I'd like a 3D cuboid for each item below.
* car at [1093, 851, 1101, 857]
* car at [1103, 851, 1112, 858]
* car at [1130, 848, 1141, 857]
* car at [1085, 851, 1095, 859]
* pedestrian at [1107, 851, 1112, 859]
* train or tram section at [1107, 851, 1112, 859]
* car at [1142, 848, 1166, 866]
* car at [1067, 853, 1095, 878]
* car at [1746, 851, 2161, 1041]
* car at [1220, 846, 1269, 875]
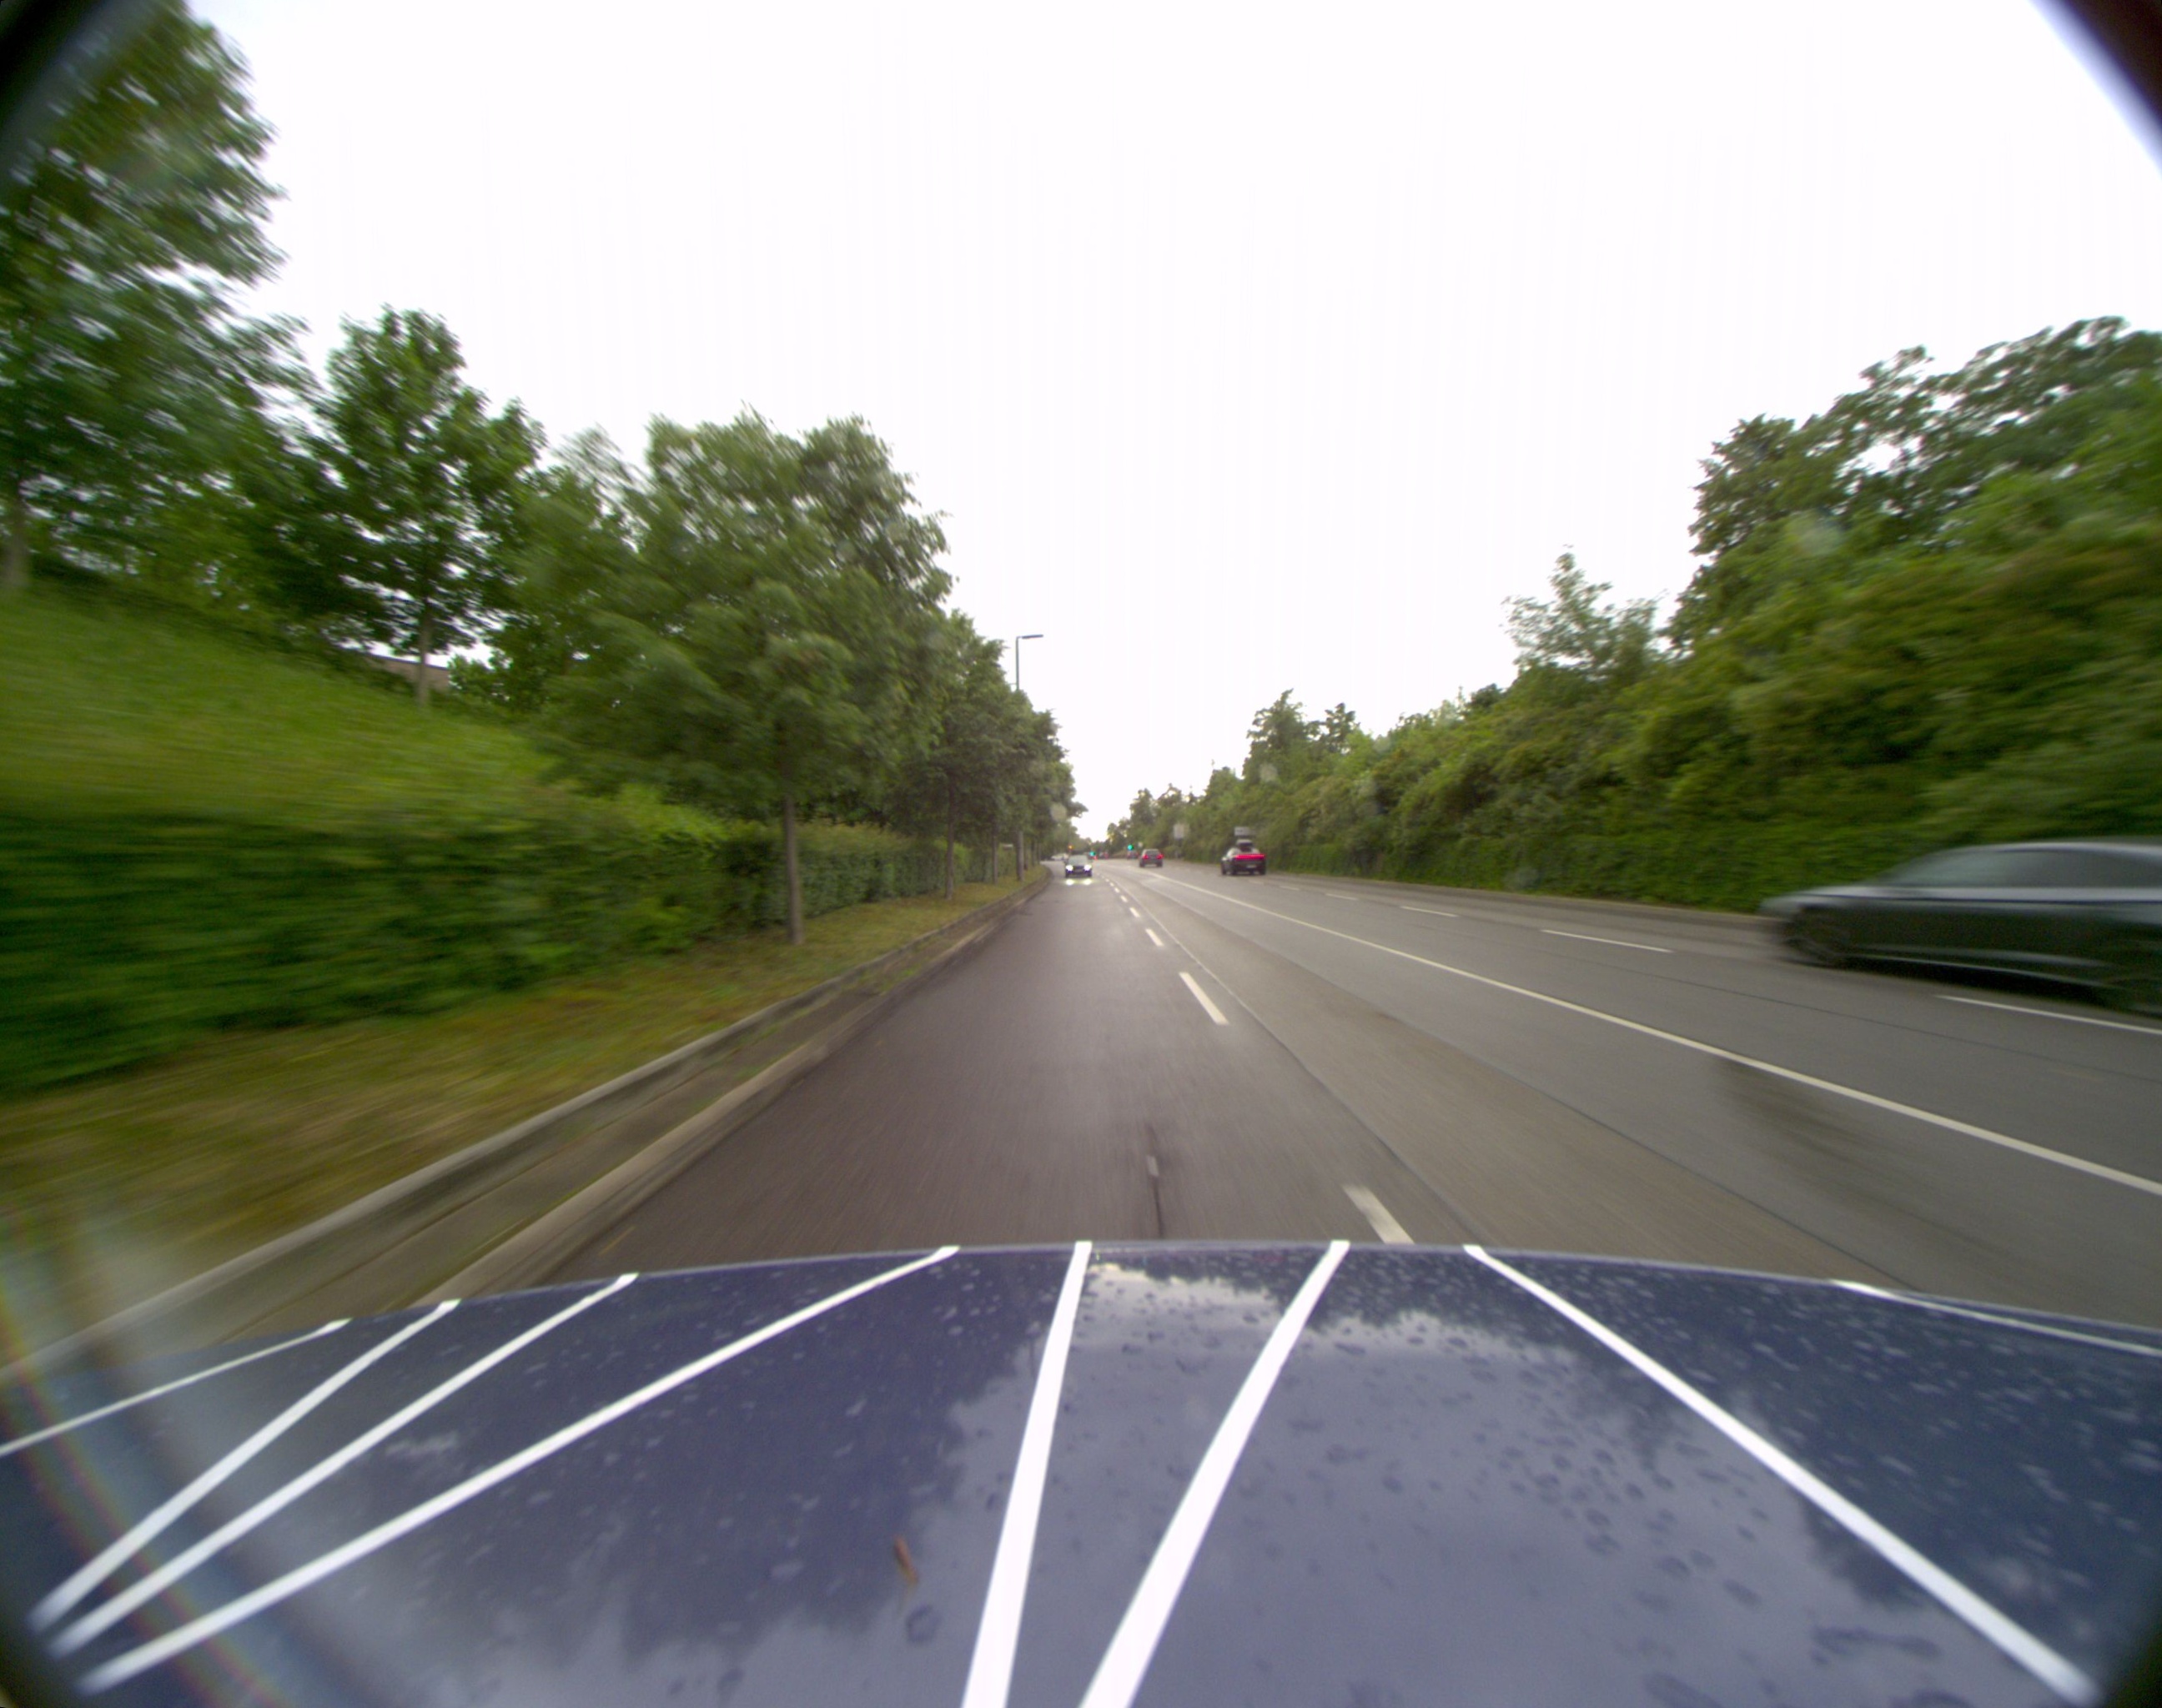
[{"bbox_3d":[4.120,0.074,194.422,1.679,1.459,3.860,-2,1,-2],"label":"car"},{"bbox_3d":[6.223,0.149,177.788,1.805,1.597,4.427,-2,0,-2],"label":"car"},{"bbox_3d":[8.995,-0.210,124.952,1.552,1.429,3.695,-1,1,0],"label":"car"},{"bbox_3d":[1.769,0.240,152.668,1.782,1.459,3.996,-1,0,-2],"label":"car"},{"bbox_3d":[5.248,0.164,140.879,0.793,1.376,0.974,-2,1,-1],"label":"pedestrian"},{"bbox_3d":[5.245,0.164,140.883,0.793,1.561,2.383,-2,1,-1],"label":"train or tram section"},{"bbox_3d":[6.899,0.284,72.282,1.817,1.648,4.595,-2,0,0],"label":"car"},{"bbox_3d":[-0.052,0.756,51.962,1.738,1.577,4.285,-1,0,-2],"label":"car"},{"bbox_3d":[9.010,0.696,6.869,1.764,1.373,4.838,-2,0,1],"label":"car"},{"bbox_3d":[9.602,0.363,44.974,1.903,1.544,4.630,-2,0,1],"label":"car"}]
